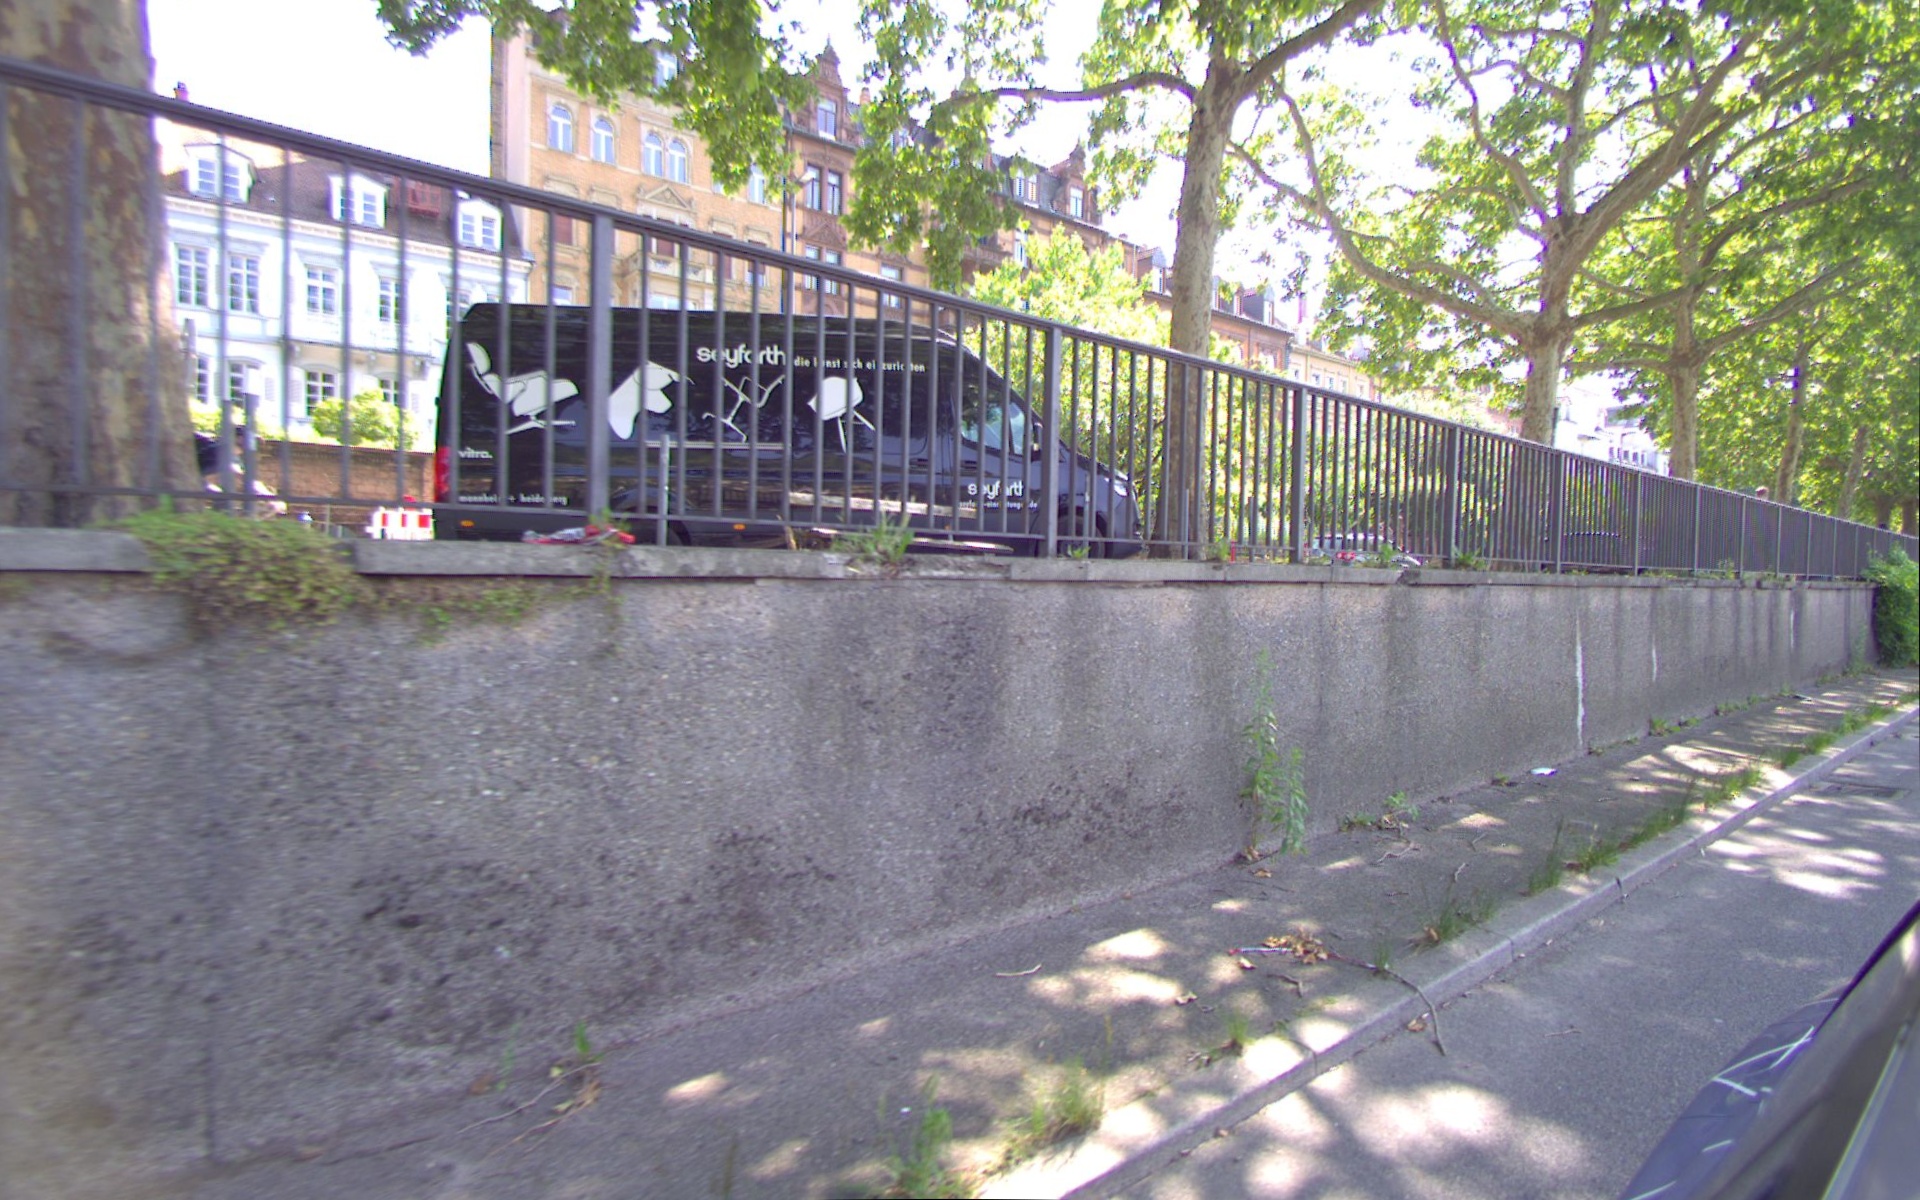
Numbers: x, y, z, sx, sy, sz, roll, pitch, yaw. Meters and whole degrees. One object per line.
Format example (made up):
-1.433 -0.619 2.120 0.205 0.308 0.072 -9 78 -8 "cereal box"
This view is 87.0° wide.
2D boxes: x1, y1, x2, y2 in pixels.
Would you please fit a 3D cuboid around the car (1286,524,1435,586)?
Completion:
11.071 -1.215 27.862 4.348 1.531 1.842 0 3 -38 "car"

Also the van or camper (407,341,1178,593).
-1.572 -1.283 10.797 7.205 2.211 2.349 -2 0 -11 "van or camper"

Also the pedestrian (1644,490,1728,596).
10.272 -0.803 14.324 0.933 1.441 0.682 0 4 -41 "pedestrian"

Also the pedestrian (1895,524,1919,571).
34.552 -1.910 36.893 0.646 1.660 0.617 2 2 42 "pedestrian"

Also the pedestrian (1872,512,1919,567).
24.252 -1.564 26.237 0.800 1.382 0.754 0 4 -42 "pedestrian"

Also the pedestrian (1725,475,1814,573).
13.849 -1.300 17.318 1.010 1.598 0.938 0 4 -42 "pedestrian"

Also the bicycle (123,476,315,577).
-7.594 -0.752 10.433 1.512 0.988 0.419 -2 0 -22 "bicycle"

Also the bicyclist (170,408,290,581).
-7.532 -1.061 10.481 0.827 1.704 0.705 -2 0 -22 "bicyclist"

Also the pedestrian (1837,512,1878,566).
23.950 -1.628 27.008 0.781 1.382 0.645 0 4 -42 "pedestrian"
